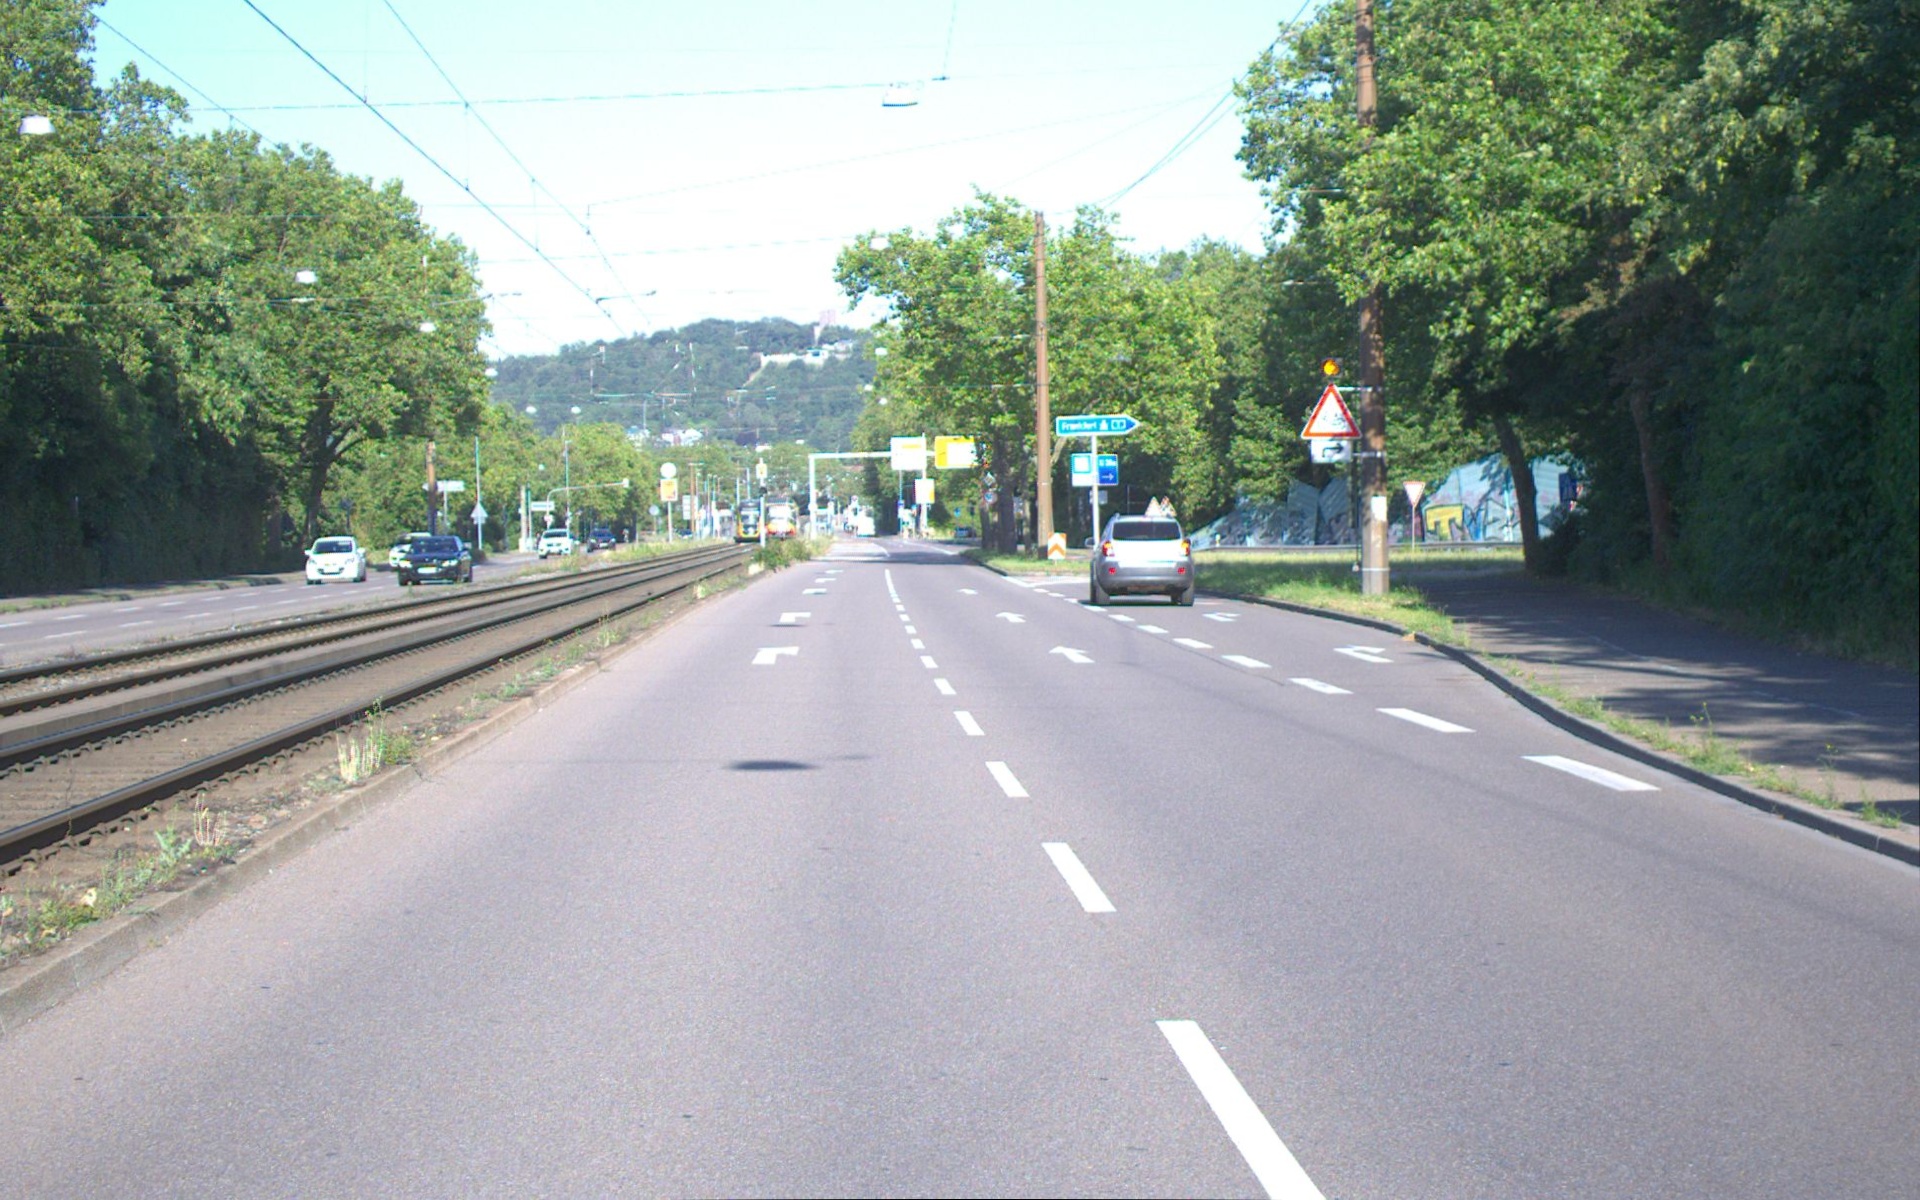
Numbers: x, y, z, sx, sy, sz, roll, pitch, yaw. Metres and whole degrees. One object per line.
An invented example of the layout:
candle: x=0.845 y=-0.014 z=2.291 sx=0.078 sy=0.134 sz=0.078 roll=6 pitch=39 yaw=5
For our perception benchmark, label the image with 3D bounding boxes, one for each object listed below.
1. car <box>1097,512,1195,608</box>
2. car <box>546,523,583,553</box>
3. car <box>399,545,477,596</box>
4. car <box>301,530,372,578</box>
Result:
car: x=3.522 y=-0.775 z=65.437 sx=1.809 sy=1.767 sz=3.862 roll=0 pitch=1 yaw=3
car: x=-23.844 y=-3.709 z=207.356 sx=1.962 sy=1.701 sz=4.945 roll=-3 pitch=1 yaw=-4
car: x=-15.573 y=-0.901 z=102.768 sx=1.657 sy=1.428 sz=4.502 roll=-3 pitch=1 yaw=-1
car: x=-21.465 y=-1.577 z=118.526 sx=1.691 sy=1.550 sz=4.191 roll=-3 pitch=1 yaw=-1
